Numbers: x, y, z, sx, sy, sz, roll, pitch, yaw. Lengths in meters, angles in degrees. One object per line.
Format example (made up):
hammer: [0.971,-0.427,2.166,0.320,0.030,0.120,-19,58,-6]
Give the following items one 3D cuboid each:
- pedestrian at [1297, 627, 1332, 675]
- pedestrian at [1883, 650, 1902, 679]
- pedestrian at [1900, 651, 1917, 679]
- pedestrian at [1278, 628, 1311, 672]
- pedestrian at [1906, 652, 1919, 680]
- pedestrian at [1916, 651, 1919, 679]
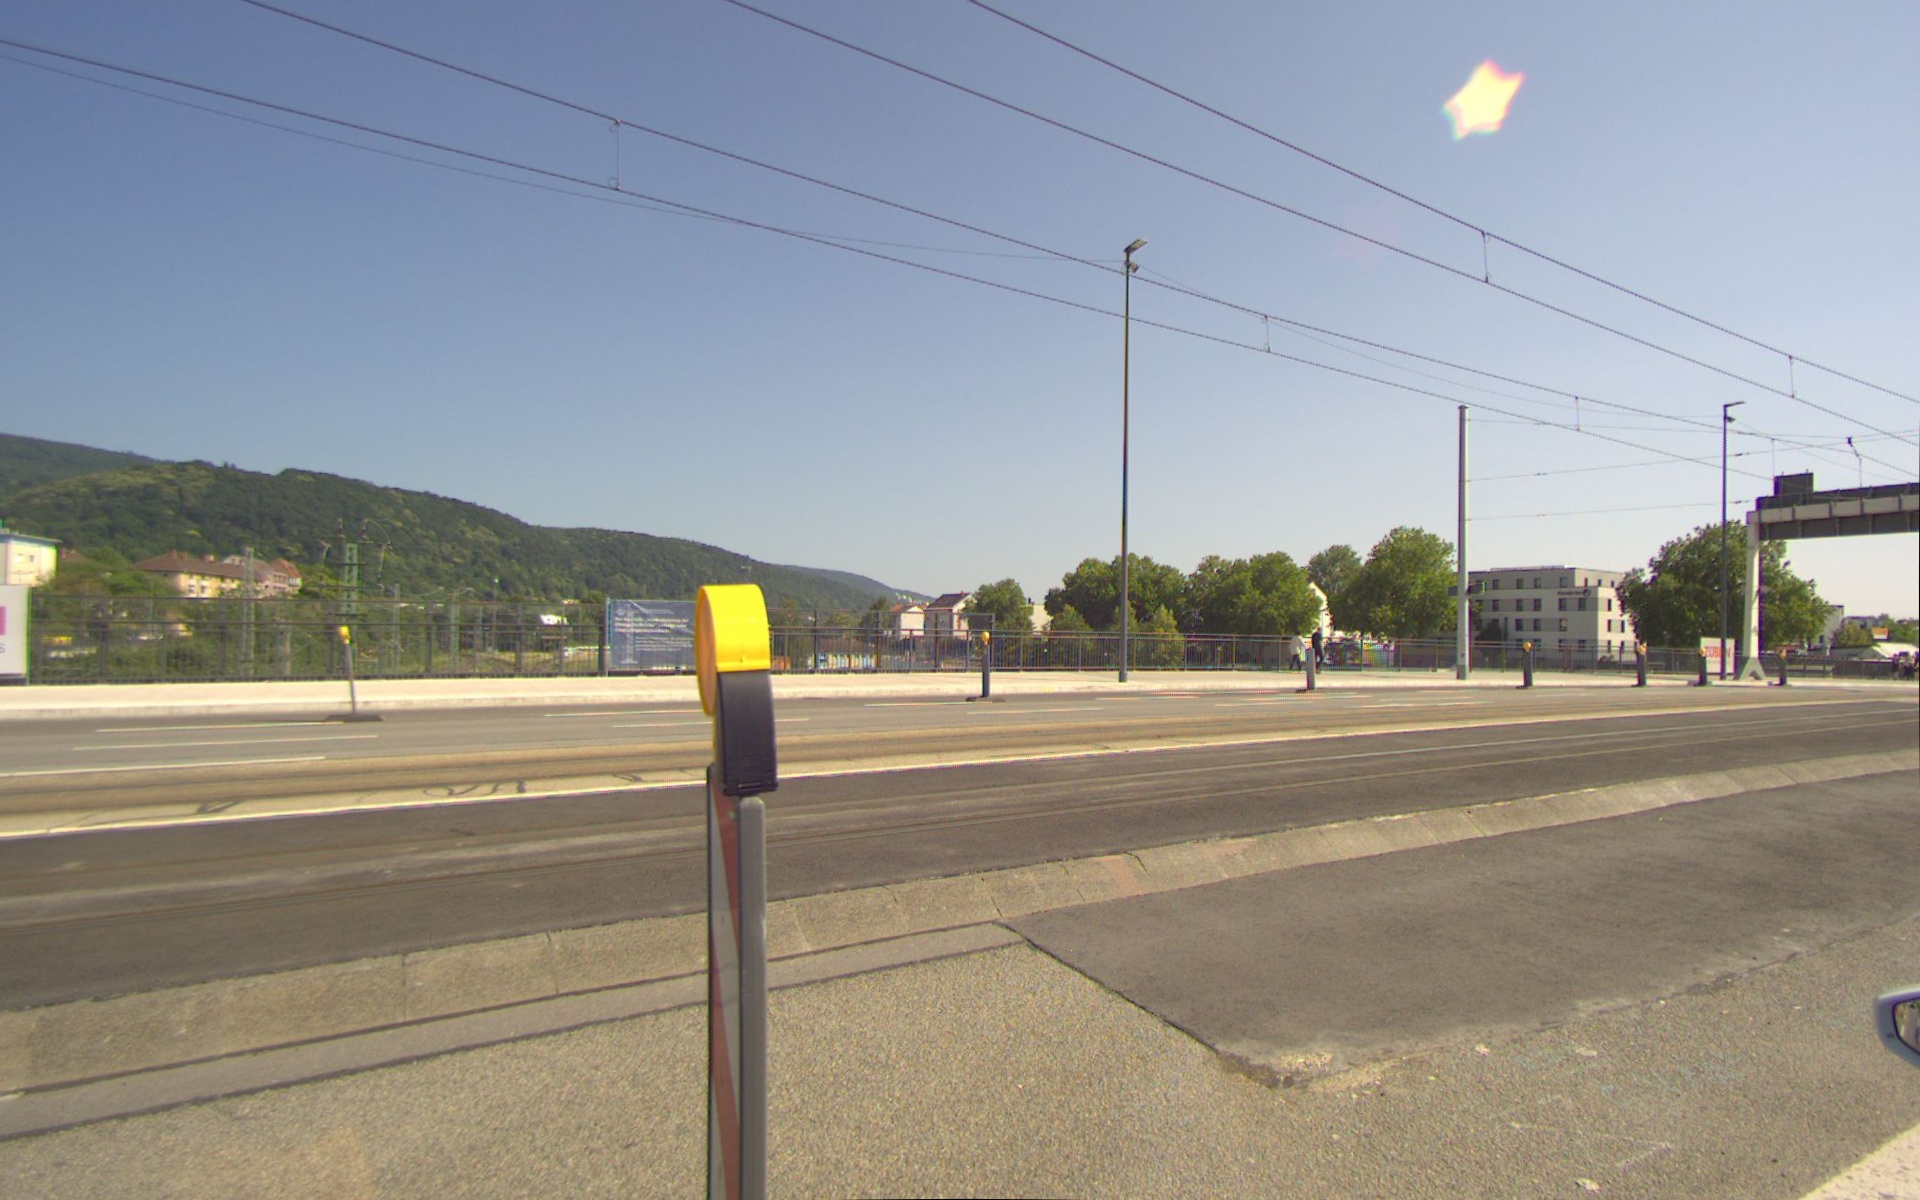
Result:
pedestrian: [12.850,1.846,36.387,0.884,1.663,0.740,2,1,-30]
pedestrian: [57.408,3.966,61.830,0.807,1.709,0.595,2,-2,-26]
pedestrian: [58.098,3.961,61.534,0.797,1.709,0.484,2,-2,-26]
pedestrian: [12.427,1.859,37.289,0.878,1.565,0.716,2,1,-30]
pedestrian: [60.135,4.170,63.325,0.763,1.709,0.502,2,-2,-26]
pedestrian: [60.048,4.047,62.370,0.722,1.709,0.750,2,-2,-26]
